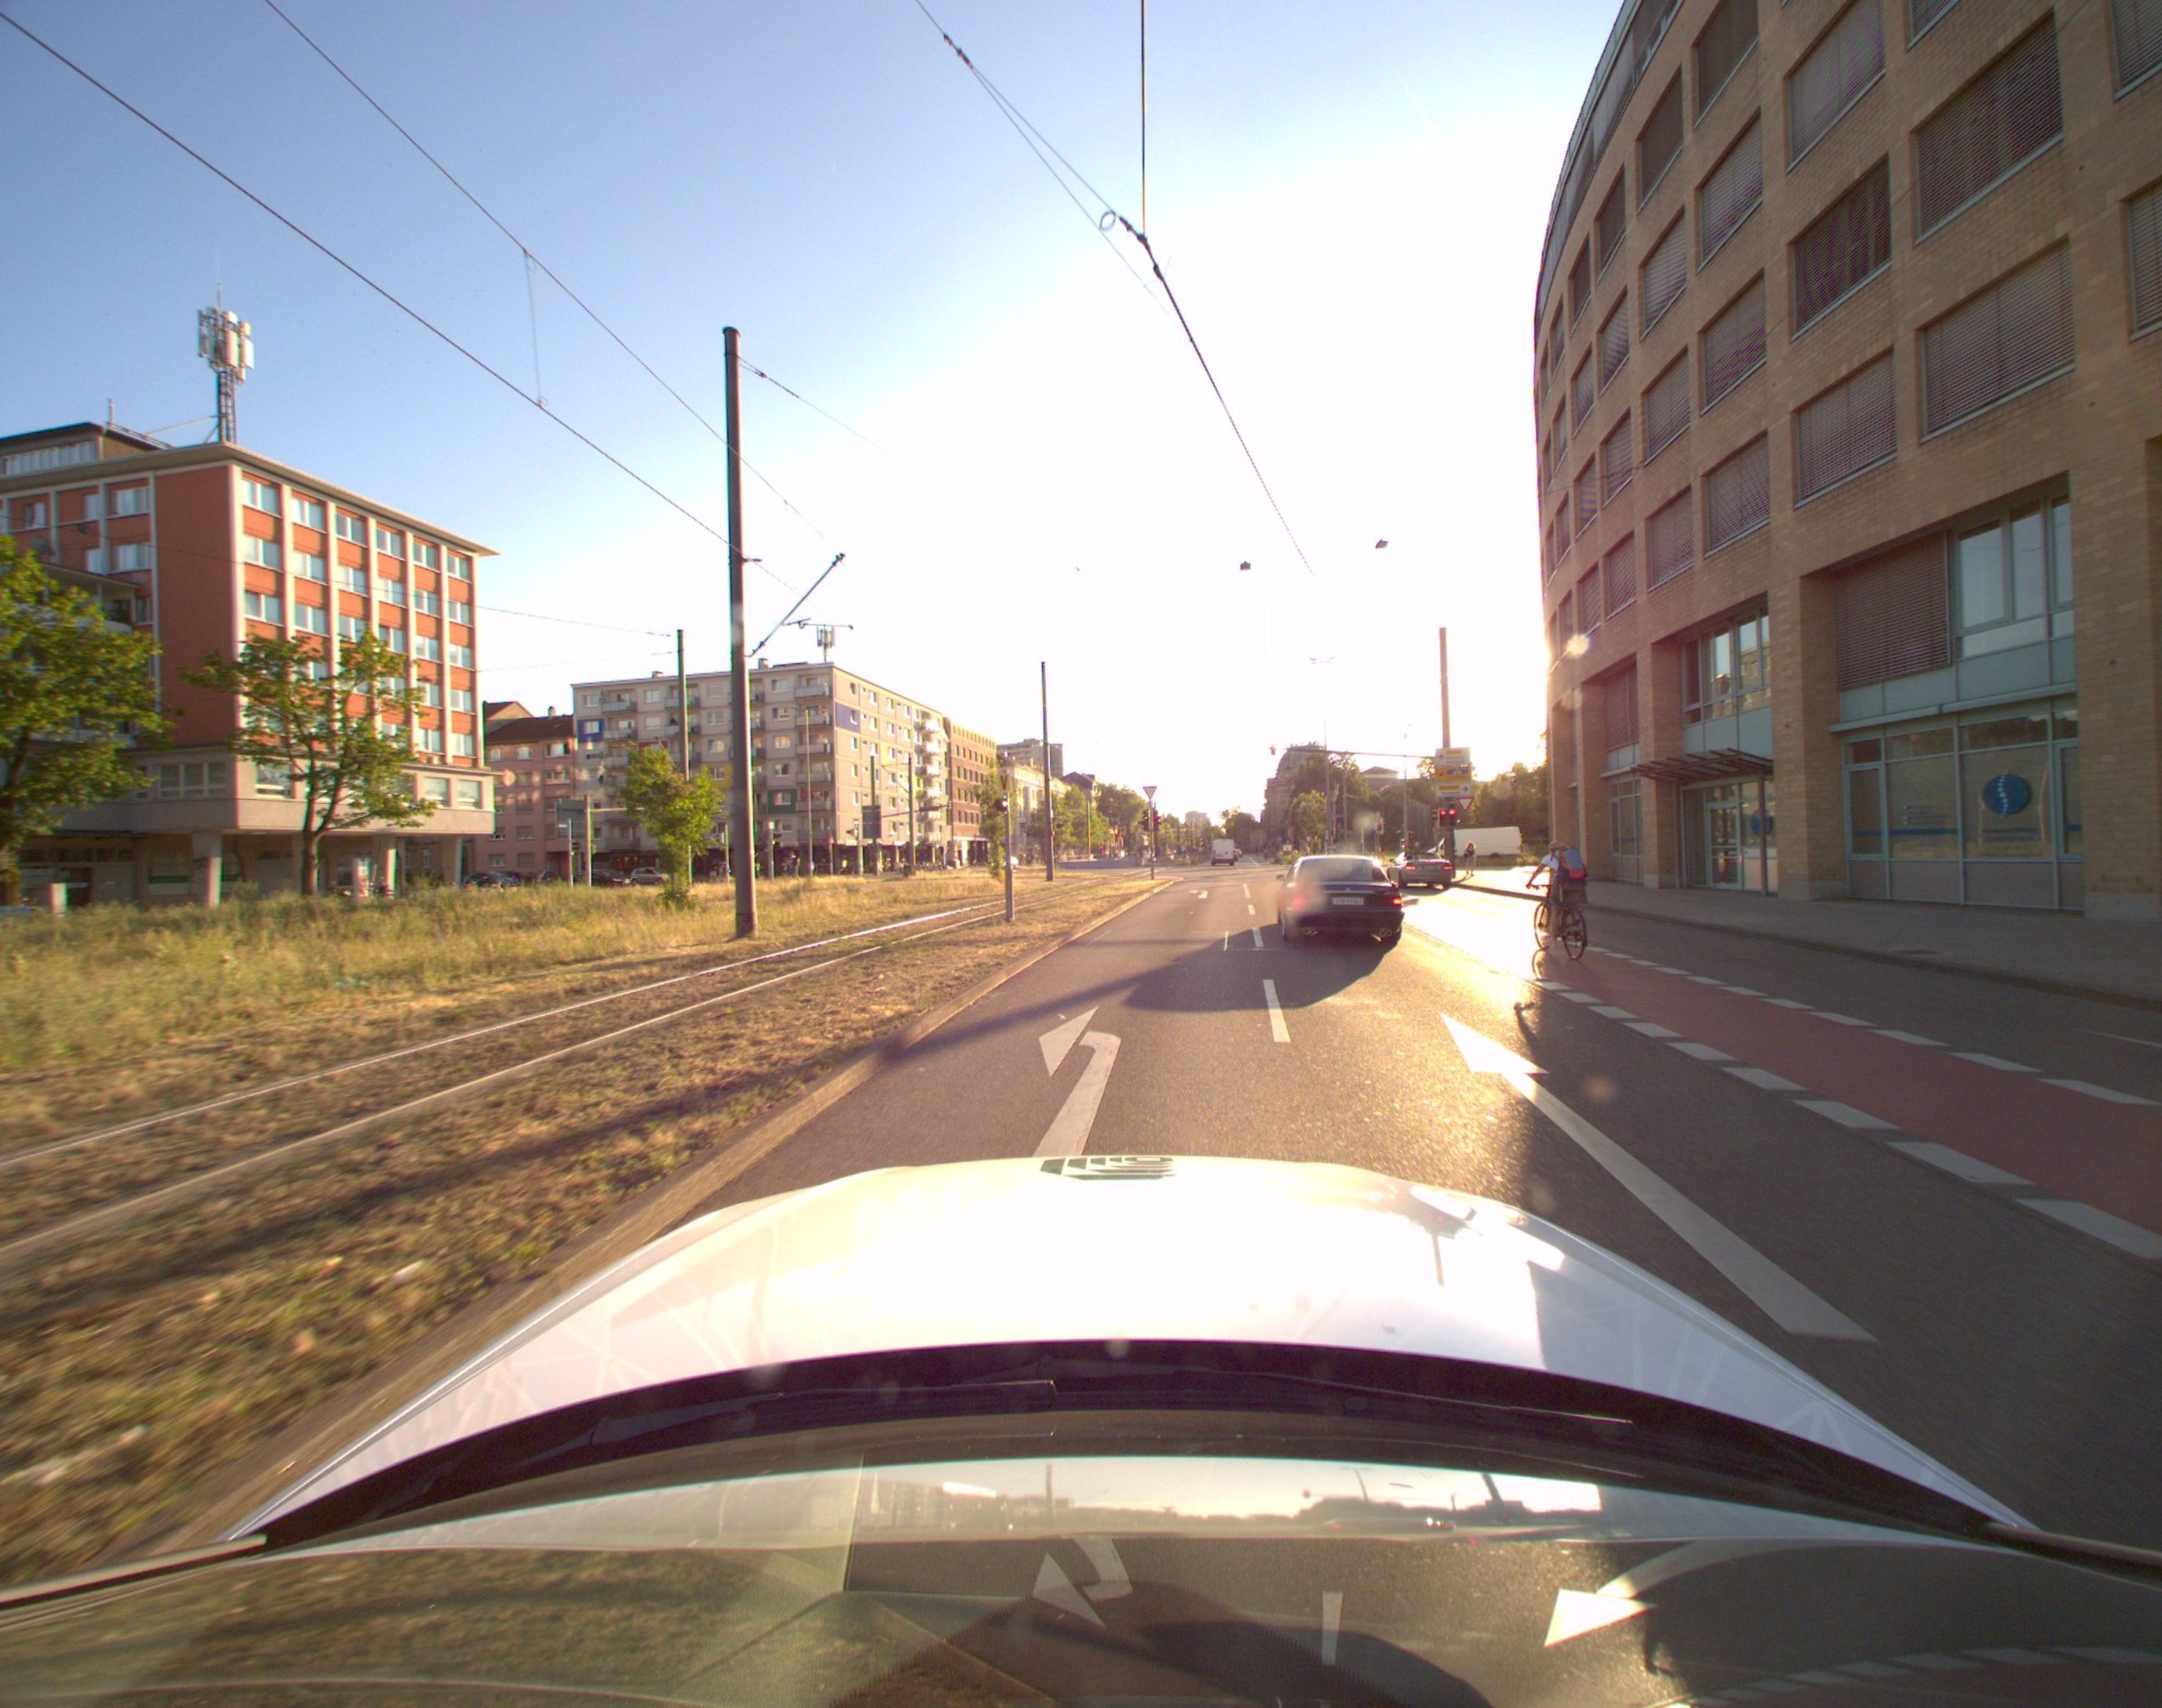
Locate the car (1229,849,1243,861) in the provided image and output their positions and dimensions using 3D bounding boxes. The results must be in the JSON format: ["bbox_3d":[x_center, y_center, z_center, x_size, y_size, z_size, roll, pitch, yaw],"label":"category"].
[{"bbox_3d":[20.218,0.095,106.213,1.726,1.385,4.014,-2,1,12],"label":"car"}]

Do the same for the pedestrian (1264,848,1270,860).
[{"bbox_3d":[24.263,-0.010,106.150,0.612,1.475,0.803,-2,1,15],"label":"pedestrian"}]

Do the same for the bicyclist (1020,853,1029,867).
[{"bbox_3d":[-5.981,0.608,85.749,0.656,1.442,0.860,0,1,15],"label":"bicyclist"}]

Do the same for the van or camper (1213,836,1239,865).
[{"bbox_3d":[14.040,-0.382,78.915,2.248,2.624,4.518,-2,1,12],"label":"van or camper"}]

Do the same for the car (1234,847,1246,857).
[{"bbox_3d":[29.331,-0.397,150.261,1.784,1.566,4.009,-2,1,7],"label":"car"}]

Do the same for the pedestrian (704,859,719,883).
[{"bbox_3d":[-29.668,1.351,65.349,0.700,1.851,0.739,-2,1,11],"label":"pedestrian"}]

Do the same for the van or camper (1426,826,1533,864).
[{"bbox_3d":[30.527,-0.703,62.681,6.993,2.674,2.608,-2,1,13],"label":"van or camper"}]

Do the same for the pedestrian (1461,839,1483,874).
[{"bbox_3d":[18.082,0.090,37.662,0.673,1.569,0.802,-2,1,9],"label":"pedestrian"}]

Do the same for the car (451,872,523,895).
[{"bbox_3d":[-46.725,2.327,64.142,4.258,1.585,1.992,-2,1,6],"label":"car"}]

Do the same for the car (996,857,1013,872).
[{"bbox_3d":[-8.093,1.082,85.826,1.711,1.434,3.991,-1,2,-7],"label":"car"}]

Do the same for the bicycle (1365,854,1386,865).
[{"bbox_3d":[25.515,0.489,70.602,1.703,0.970,0.613,-1,1,23],"label":"bicycle"}]

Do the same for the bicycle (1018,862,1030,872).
[{"bbox_3d":[-5.970,1.373,85.776,0.696,0.970,1.741,1,2,15],"label":"bicycle"}]

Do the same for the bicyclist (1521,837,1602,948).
[{"bbox_3d":[6.747,0.518,11.475,0.651,1.483,1.040,0,0,9],"label":"bicyclist"}]

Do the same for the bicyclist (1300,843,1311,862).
[{"bbox_3d":[19.399,-0.143,70.350,0.792,1.571,0.665,-2,1,13],"label":"bicyclist"}]

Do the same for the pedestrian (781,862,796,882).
[{"bbox_3d":[-24.586,1.514,68.466,0.731,1.669,0.788,-2,1,30],"label":"pedestrian"}]

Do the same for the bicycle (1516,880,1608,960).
[{"bbox_3d":[6.761,0.891,11.538,0.512,0.954,1.780,0,1,9],"label":"bicycle"}]

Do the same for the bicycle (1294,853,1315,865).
[{"bbox_3d":[19.348,0.400,70.377,1.716,0.970,0.611,-1,1,12],"label":"bicycle"}]

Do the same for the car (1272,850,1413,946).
[{"bbox_3d":[4.424,0.652,14.431,1.818,1.354,4.656,-1,1,11],"label":"car"}]

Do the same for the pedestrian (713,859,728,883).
[{"bbox_3d":[-28.789,1.337,65.021,0.598,1.847,0.825,-2,1,11],"label":"pedestrian"}]

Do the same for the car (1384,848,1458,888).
[{"bbox_3d":[12.896,0.488,31.141,1.772,1.354,4.279,-1,1,10],"label":"car"}]

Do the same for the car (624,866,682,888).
[{"bbox_3d":[-35.593,1.922,67.739,3.845,1.585,1.807,-2,1,6],"label":"car"}]

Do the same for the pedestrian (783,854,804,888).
[{"bbox_3d":[-15.231,0.900,43.127,0.712,1.762,0.654,-2,1,32],"label":"pedestrian"}]

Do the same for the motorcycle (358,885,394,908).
[{"bbox_3d":[-35.929,2.158,41.490,1.441,1.068,0.532,-2,1,10],"label":"motorcycle"}]

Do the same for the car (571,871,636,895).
[{"bbox_3d":[-36.273,2.191,61.868,3.845,1.585,1.807,-2,1,6],"label":"car"}]

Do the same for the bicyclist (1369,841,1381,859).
[{"bbox_3d":[25.473,-0.353,70.599,0.846,1.442,0.667,-2,1,23],"label":"bicyclist"}]

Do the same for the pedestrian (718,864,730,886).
[{"bbox_3d":[-27.821,1.631,63.394,0.511,1.629,0.617,-2,1,11],"label":"pedestrian"}]

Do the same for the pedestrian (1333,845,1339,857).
[{"bbox_3d":[35.283,-0.455,112.715,0.677,1.611,0.614,-2,1,11],"label":"pedestrian"}]
